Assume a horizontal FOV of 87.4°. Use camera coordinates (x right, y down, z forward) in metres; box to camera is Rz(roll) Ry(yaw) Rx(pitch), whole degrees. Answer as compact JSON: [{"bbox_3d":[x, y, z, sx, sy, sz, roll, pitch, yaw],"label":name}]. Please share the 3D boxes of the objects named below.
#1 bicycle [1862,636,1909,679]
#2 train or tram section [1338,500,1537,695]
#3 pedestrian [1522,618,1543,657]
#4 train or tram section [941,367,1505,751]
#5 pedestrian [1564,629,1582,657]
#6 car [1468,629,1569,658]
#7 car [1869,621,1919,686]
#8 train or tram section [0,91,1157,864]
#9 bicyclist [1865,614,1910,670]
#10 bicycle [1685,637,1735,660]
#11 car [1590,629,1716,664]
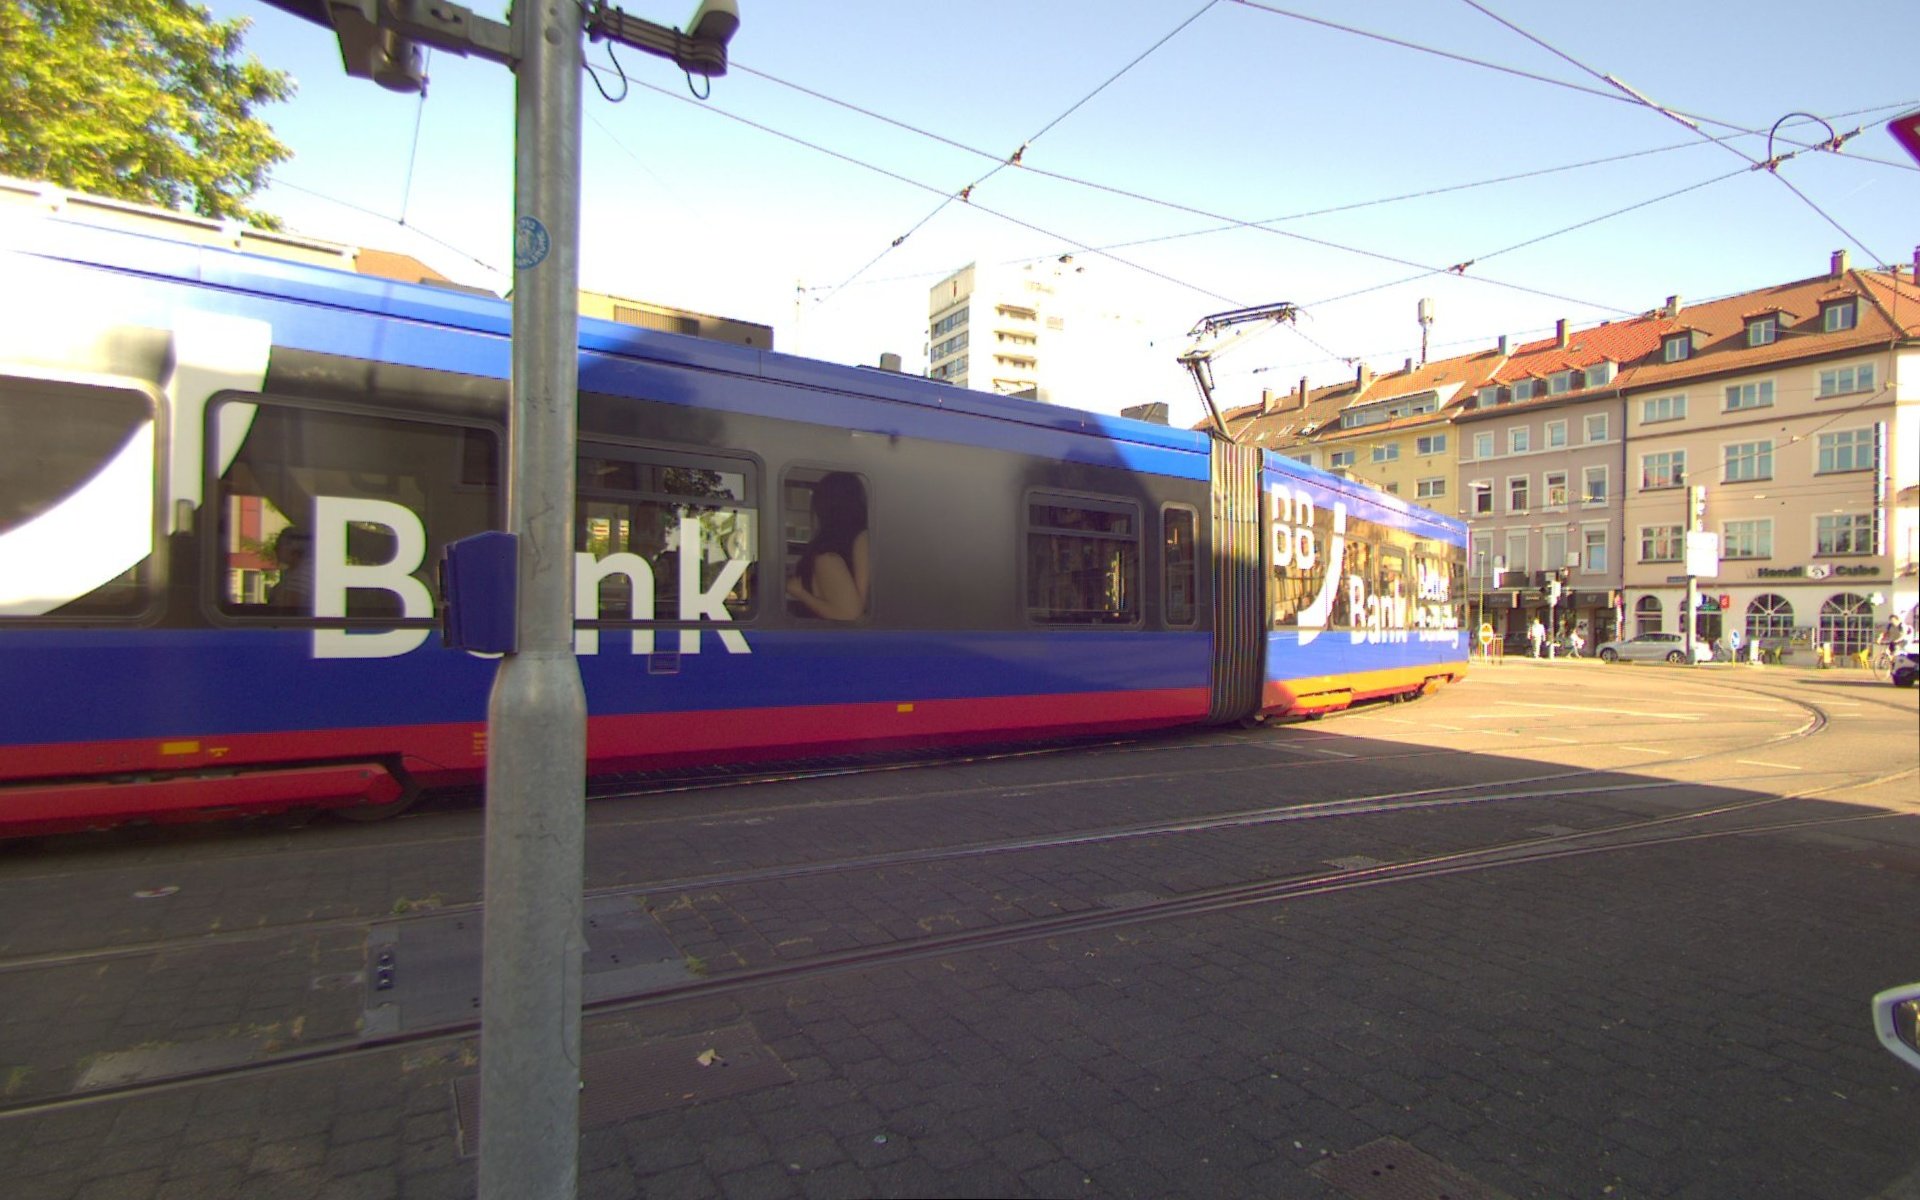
[{"bbox_3d":[26.471,1.632,28.722,2.034,1.181,0.482,1,-1,-33],"label":"bicycle"},{"bbox_3d":[12.178,0.087,24.716,3.012,3.661,12.085,0,-1,32],"label":"train or tram section"},{"bbox_3d":[24.787,1.624,43.491,0.715,1.648,0.669,0,-1,35],"label":"pedestrian"},{"bbox_3d":[5.021,-0.249,15.251,3.021,3.661,12.437,0,-1,41],"label":"train or tram section"},{"bbox_3d":[34.003,2.386,55.738,0.689,1.544,0.653,1,-1,-37],"label":"pedestrian"},{"bbox_3d":[30.559,2.370,55.085,1.725,1.459,4.614,2,-1,-32],"label":"car"},{"bbox_3d":[24.171,1.289,24.192,4.291,1.517,1.987,1,-1,-27],"label":"car"},{"bbox_3d":[-3.787,-0.526,7.243,12.003,3.661,3.033,2,-1,-37],"label":"train or tram section"},{"bbox_3d":[26.556,1.190,28.759,0.976,1.580,0.711,1,-1,-32],"label":"bicyclist"},{"bbox_3d":[37.610,2.402,50.414,0.578,1.081,1.929,1,-1,-36],"label":"bicycle"},{"bbox_3d":[30.597,2.019,44.462,1.980,1.373,4.181,1,-1,-35],"label":"car"}]
